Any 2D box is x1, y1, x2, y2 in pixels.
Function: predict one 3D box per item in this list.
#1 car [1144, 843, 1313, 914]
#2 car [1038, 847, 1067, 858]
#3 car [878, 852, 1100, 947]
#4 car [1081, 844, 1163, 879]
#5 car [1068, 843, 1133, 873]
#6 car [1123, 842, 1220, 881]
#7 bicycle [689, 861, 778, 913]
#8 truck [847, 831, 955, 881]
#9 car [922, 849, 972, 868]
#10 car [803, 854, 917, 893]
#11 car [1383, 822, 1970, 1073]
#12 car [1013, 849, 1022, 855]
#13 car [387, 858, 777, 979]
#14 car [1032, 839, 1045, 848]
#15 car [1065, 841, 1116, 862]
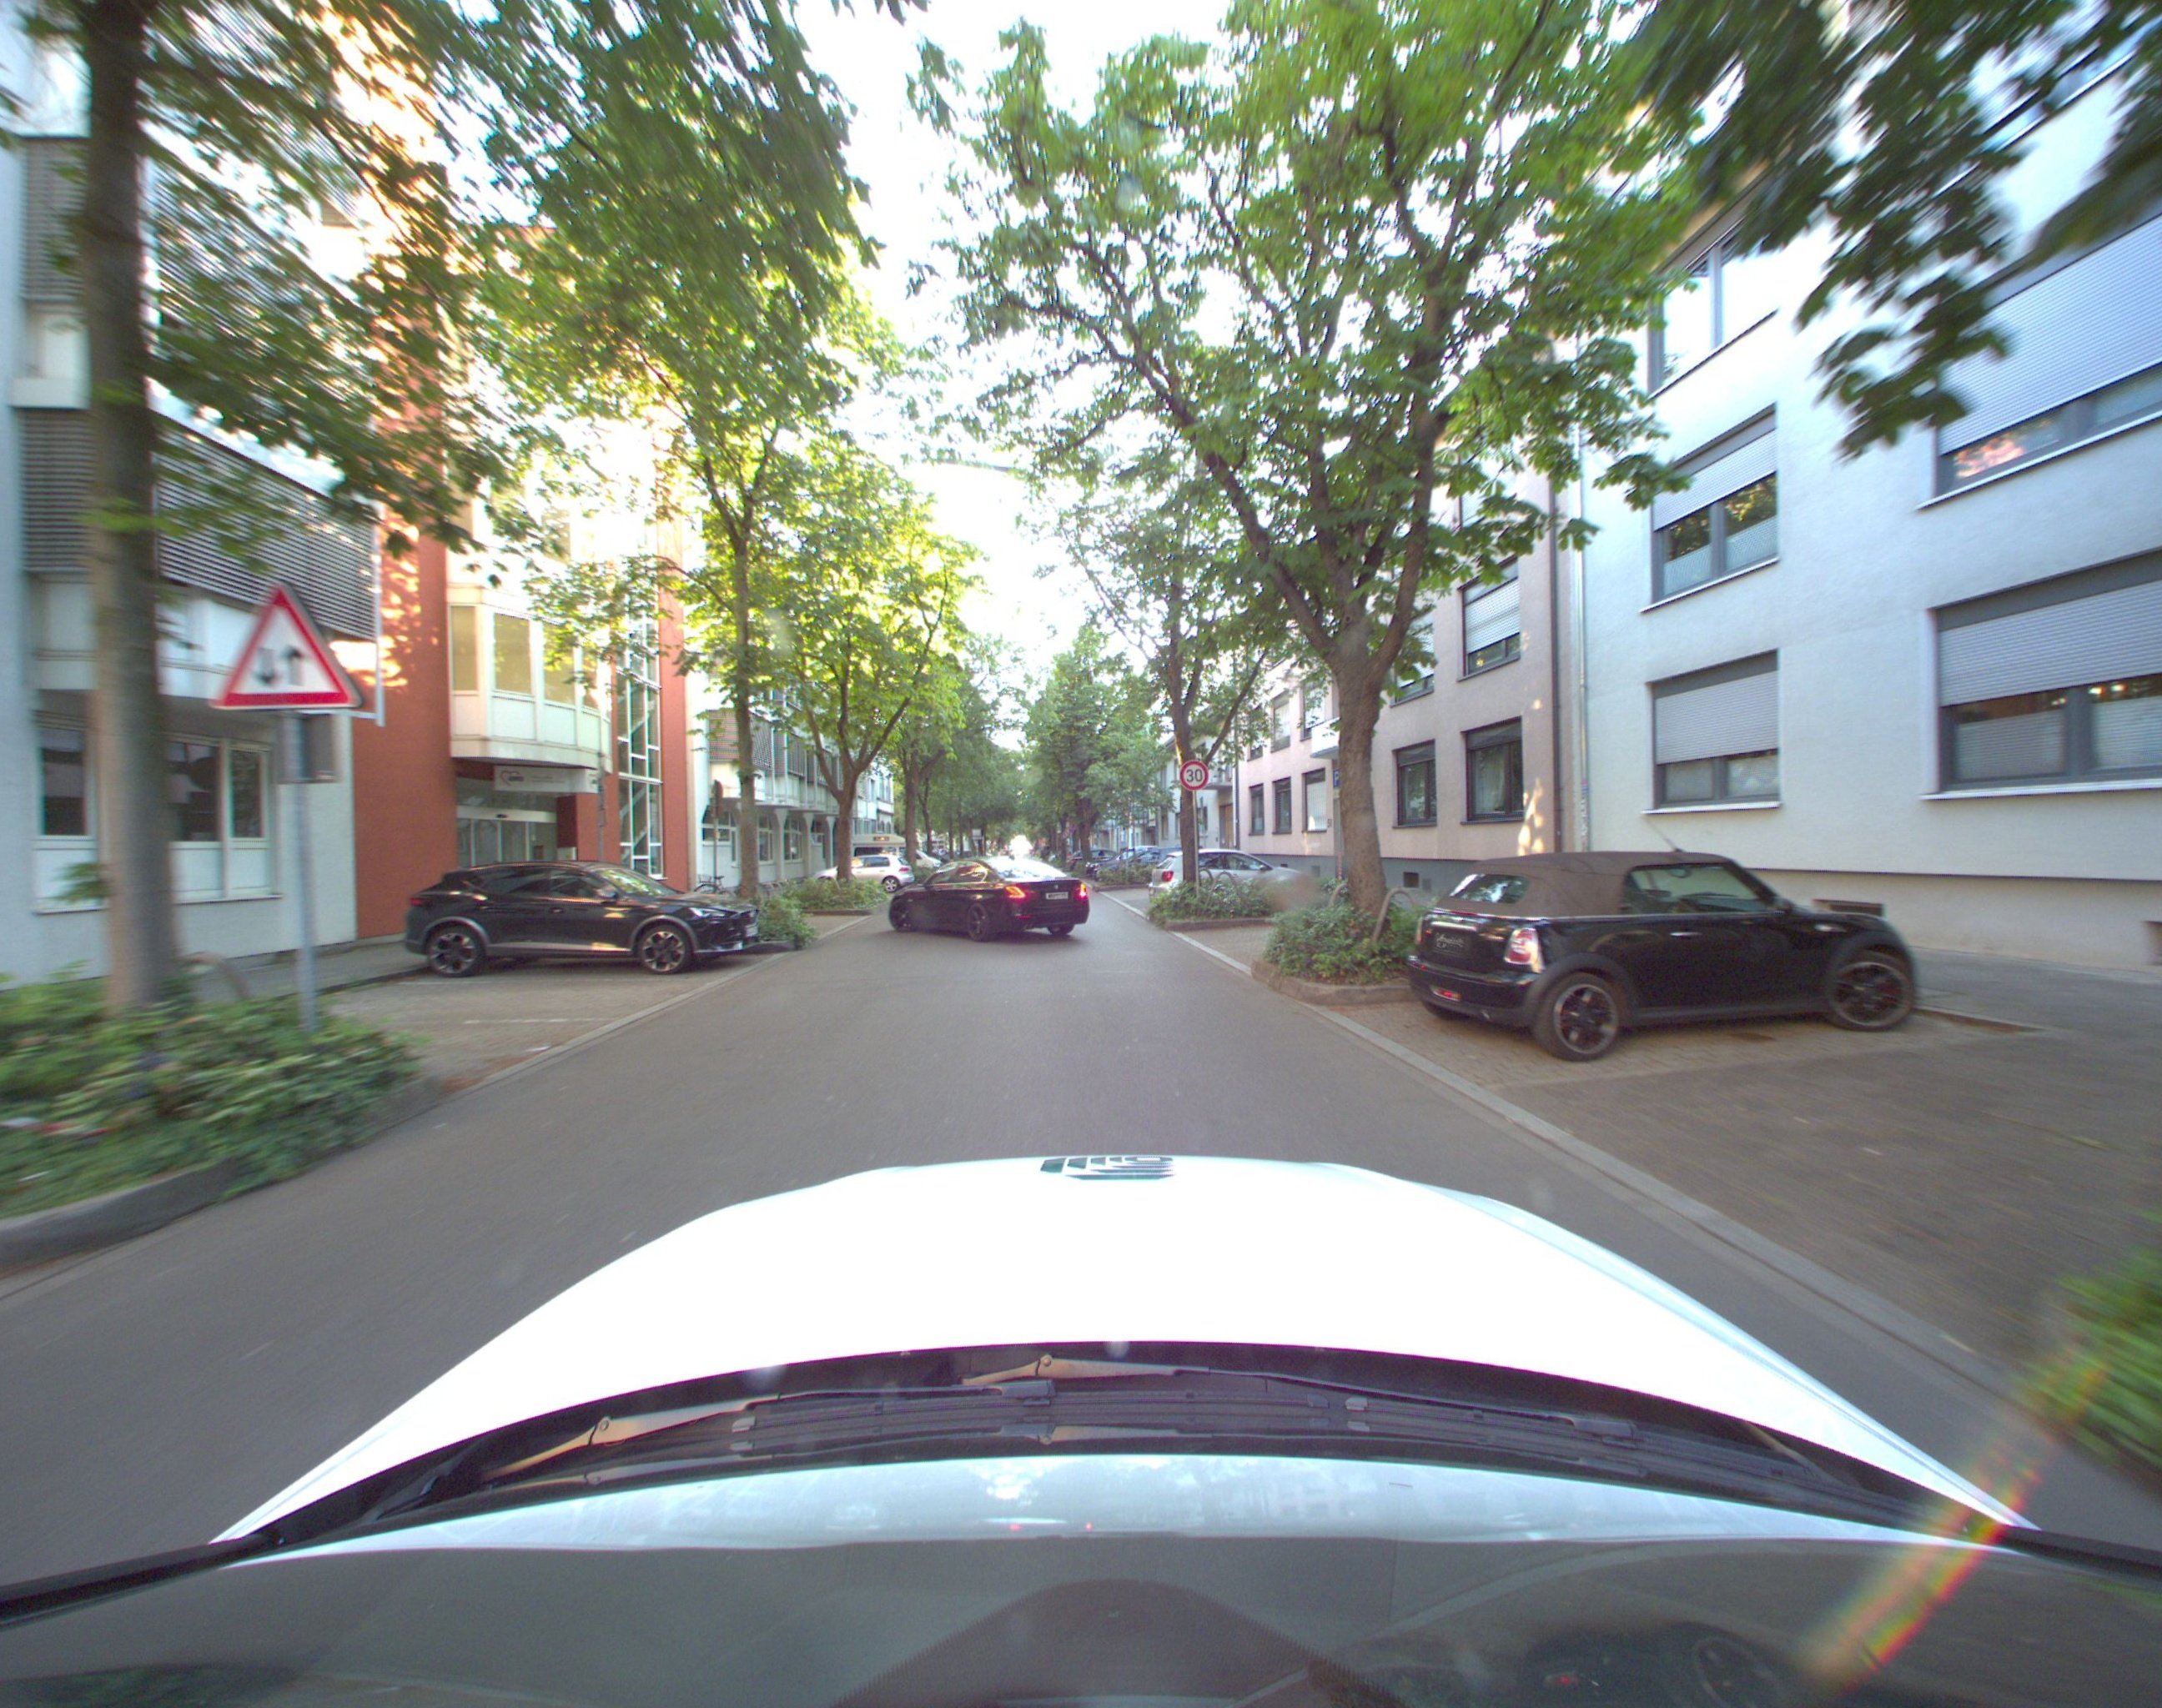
[{"bbox_3d":[3.449,0.544,19.398,3.652,1.479,1.562,-2,1,-7],"label":"car"},{"bbox_3d":[-3.645,-0.220,104.440,3.652,1.393,1.562,-1,1,-7],"label":"car"},{"bbox_3d":[-1.857,0.724,15.041,1.777,1.450,4.613,-2,1,-41],"label":"car"},{"bbox_3d":[1.965,0.352,39.695,3.788,1.530,1.562,-2,1,-7],"label":"car"},{"bbox_3d":[1.135,0.250,48.468,3.653,1.536,1.562,-4,1,-7],"label":"car"},{"bbox_3d":[3.647,0.293,33.203,3.652,1.393,1.562,-2,1,-7],"label":"car"},{"bbox_3d":[-8.695,0.813,20.448,1.973,1.199,0.499,-1,0,-16],"label":"bicycle"},{"bbox_3d":[-8.950,0.064,40.781,4.988,2.440,1.914,0,1,-4],"label":"truck"},{"bbox_3d":[-11.223,0.363,68.396,4.014,1.471,1.637,0,0,-5],"label":"car"},{"bbox_3d":[-8.710,0.739,32.394,4.125,1.471,1.637,0,0,-5],"label":"car"},{"bbox_3d":[4.570,0.601,6.485,3.702,1.428,1.622,-4,1,-10],"label":"car"},{"bbox_3d":[-15.400,-0.569,197.886,1.891,1.475,3.995,-1,1,-3],"label":"car"},{"bbox_3d":[-6.856,0.838,11.629,4.349,1.509,1.832,0,0,-5],"label":"car"},{"bbox_3d":[-7.059,-1.725,134.803,1.990,1.552,3.994,-1,1,-5],"label":"car"},{"bbox_3d":[0.722,-0.207,61.382,3.652,1.393,1.562,-2,1,-7],"label":"car"}]
